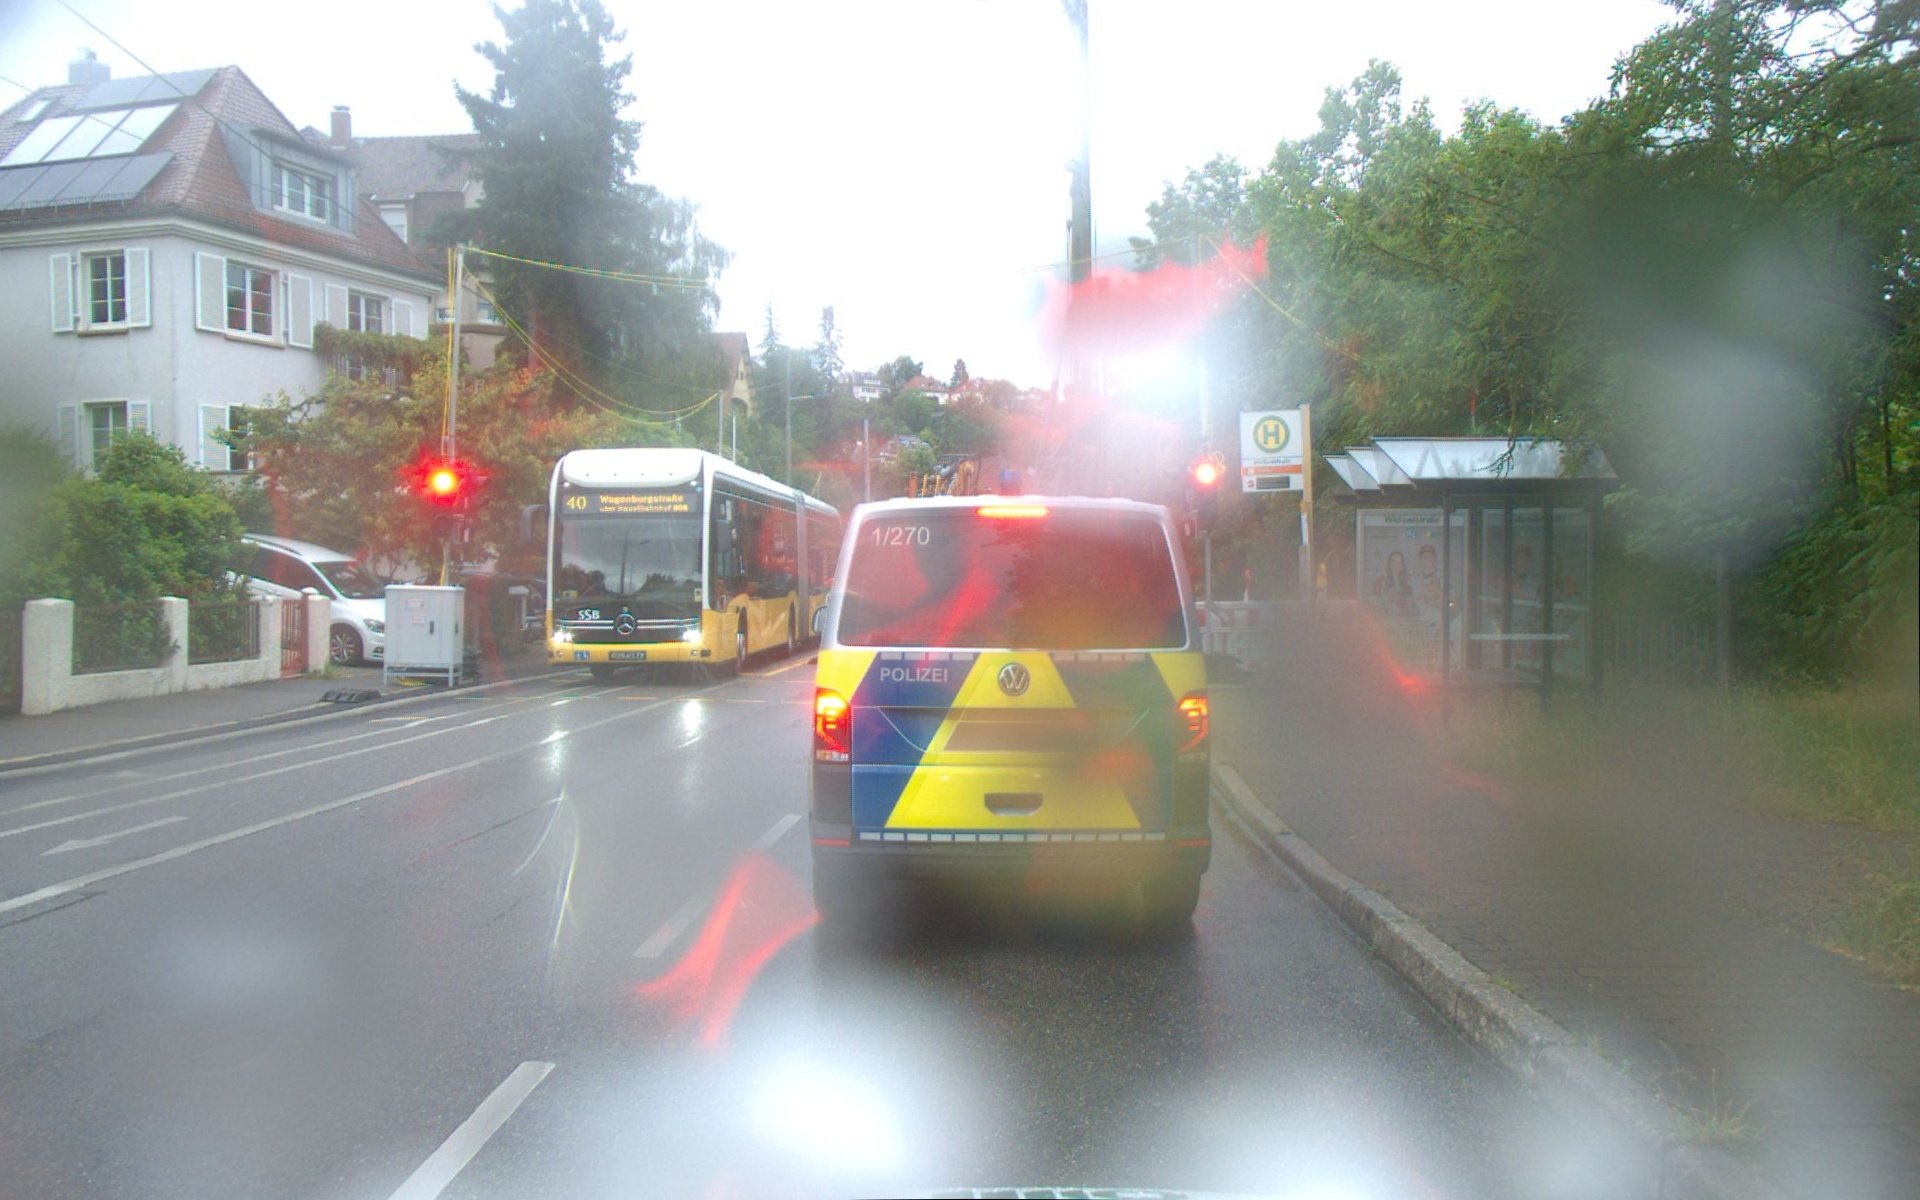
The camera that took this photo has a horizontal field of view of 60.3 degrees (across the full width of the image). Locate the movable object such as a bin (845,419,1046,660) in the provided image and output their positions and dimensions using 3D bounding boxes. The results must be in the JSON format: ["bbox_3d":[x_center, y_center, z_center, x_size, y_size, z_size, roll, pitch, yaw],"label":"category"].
[{"bbox_3d":[-0.169,-1.096,31.628,2.770,4.250,4.384,1,0,14],"label":"movable object such as a bin"}]

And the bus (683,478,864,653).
[{"bbox_3d":[-4.333,-0.787,41.337,2.782,3.688,12.008,1,0,2],"label":"bus"}]

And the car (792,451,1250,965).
[{"bbox_3d":[0.224,0.435,8.810,1.855,2.086,3.999,1,0,-1],"label":"car"}]

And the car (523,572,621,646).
[{"bbox_3d":[-8.914,0.173,37.818,1.739,1.512,3.721,1,2,-20],"label":"car"}]

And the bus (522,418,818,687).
[{"bbox_3d":[-4.650,-0.716,29.555,2.782,3.783,12.008,1,0,2],"label":"bus"}]

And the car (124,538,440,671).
[{"bbox_3d":[-11.212,0.054,27.479,4.532,2.042,1.902,1,0,11],"label":"car"}]
